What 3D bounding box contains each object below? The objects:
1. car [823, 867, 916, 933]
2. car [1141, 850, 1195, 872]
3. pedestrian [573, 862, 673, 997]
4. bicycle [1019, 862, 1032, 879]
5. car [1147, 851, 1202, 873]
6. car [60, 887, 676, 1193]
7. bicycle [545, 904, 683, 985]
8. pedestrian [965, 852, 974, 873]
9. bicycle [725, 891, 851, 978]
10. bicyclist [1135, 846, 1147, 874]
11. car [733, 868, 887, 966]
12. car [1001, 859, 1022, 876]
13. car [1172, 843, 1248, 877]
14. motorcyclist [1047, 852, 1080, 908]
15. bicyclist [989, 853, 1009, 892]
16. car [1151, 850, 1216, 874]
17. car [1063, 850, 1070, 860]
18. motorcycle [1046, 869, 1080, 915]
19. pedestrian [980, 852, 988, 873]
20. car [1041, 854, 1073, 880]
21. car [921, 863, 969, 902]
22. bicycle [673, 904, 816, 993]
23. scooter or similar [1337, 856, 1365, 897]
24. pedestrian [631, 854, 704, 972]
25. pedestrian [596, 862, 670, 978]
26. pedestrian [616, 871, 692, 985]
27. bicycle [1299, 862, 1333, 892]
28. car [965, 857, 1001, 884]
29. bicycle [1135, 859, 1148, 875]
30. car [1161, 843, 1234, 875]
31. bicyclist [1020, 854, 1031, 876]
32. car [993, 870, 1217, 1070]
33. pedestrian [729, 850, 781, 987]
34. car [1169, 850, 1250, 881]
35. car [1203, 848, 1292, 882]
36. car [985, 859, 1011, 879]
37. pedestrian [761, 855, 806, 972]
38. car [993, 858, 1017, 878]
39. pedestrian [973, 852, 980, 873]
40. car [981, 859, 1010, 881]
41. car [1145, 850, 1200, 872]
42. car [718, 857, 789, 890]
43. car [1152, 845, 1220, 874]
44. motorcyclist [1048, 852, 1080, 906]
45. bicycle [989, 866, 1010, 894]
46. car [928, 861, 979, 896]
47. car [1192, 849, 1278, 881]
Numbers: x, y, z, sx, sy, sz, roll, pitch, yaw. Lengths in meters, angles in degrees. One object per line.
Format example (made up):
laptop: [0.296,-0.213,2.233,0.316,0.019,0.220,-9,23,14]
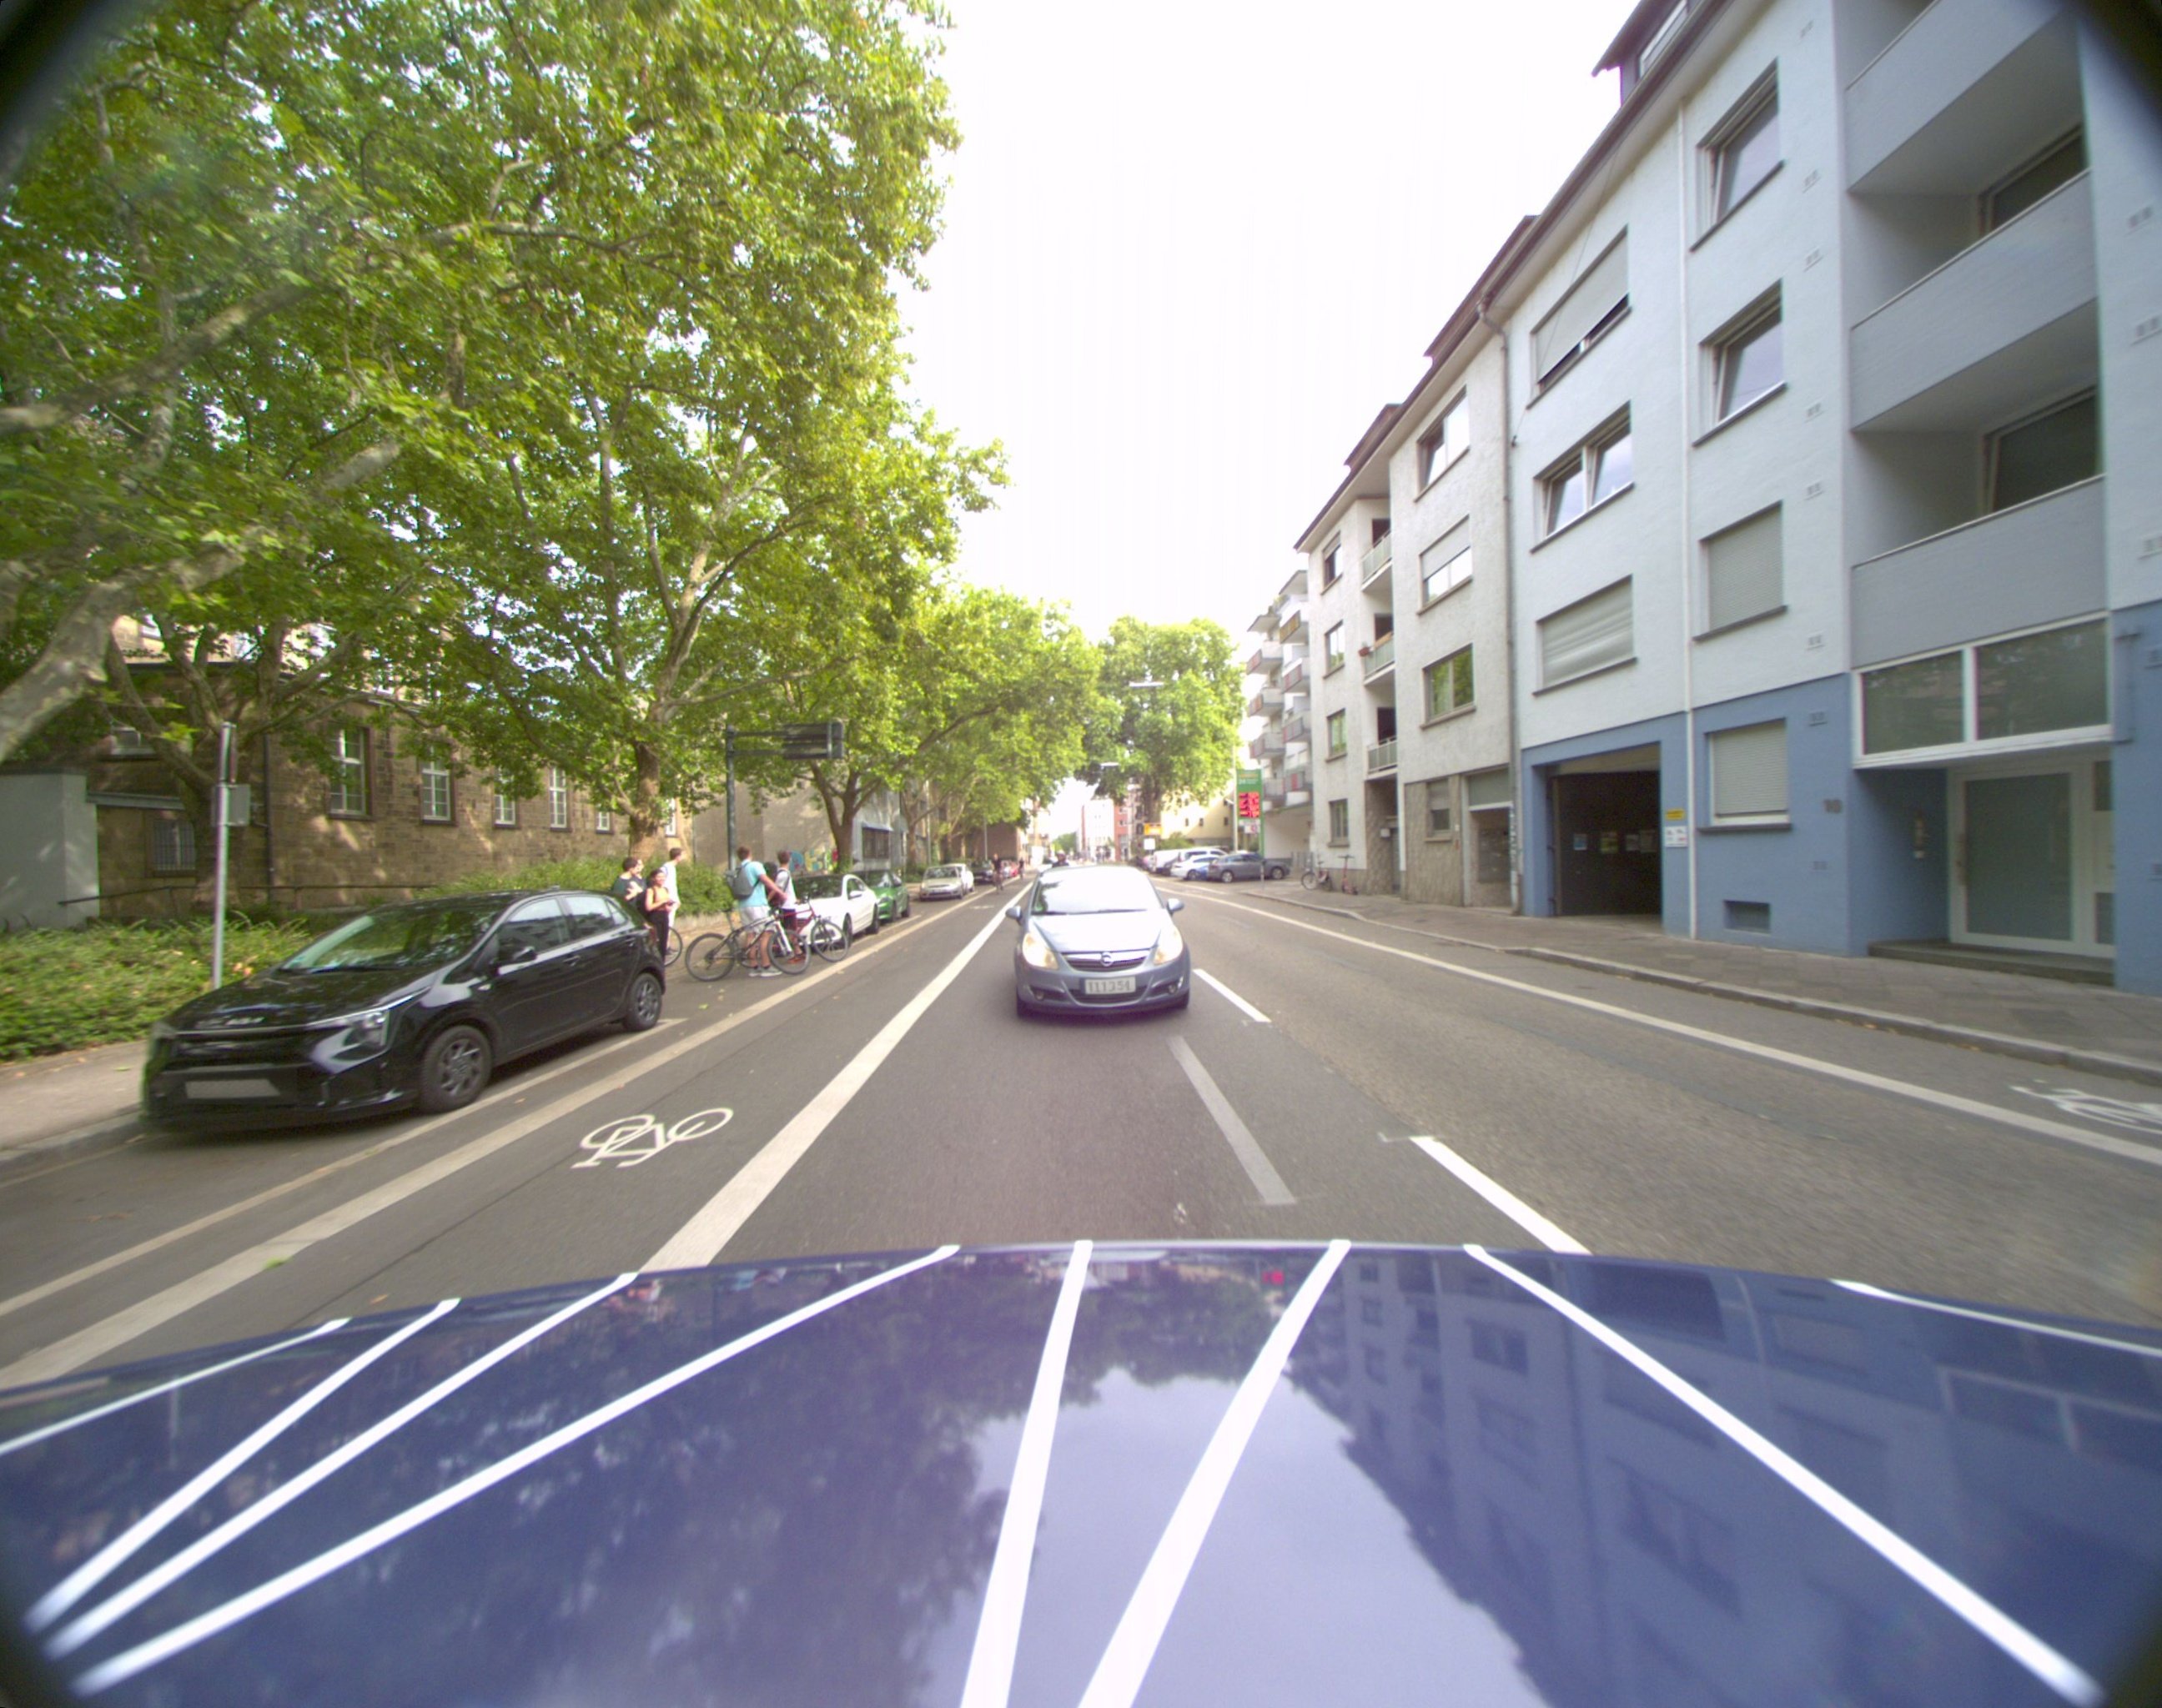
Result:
car: [-5.624,1.161,20.613,1.592,1.441,3.804,-4,0,-4]
car: [7.707,0.605,67.821,4.530,1.596,1.754,-4,0,-1]
pedestrian: [-6.540,1.047,10.891,0.873,1.806,0.780,-3,1,-2]
bicycle: [-4.158,1.210,57.000,0.763,1.162,1.949,-3,0,-1]
car: [7.795,0.638,63.511,4.276,1.502,1.719,-4,0,-1]
car: [-5.048,1.145,6.185,1.532,1.493,3.659,-3,0,-1]
bicycle: [-7.468,1.434,12.211,1.773,1.125,0.462,-3,1,-13]
pedestrian: [-9.689,0.749,66.096,0.644,1.823,0.645,2,1,-3]
bicycle: [-4.660,1.256,12.177,1.796,1.210,0.552,-3,1,-19]
bicyclist: [4.026,0.384,50.802,0.653,1.800,1.045,-2,1,-2]
car: [-5.313,1.145,15.552,1.685,1.507,4.542,-4,0,-4]
car: [-6.506,1.252,71.020,1.603,1.438,4.104,-3,0,-1]
car: [7.970,0.370,47.209,4.222,1.837,1.924,-4,0,-1]
motorcyclist: [-0.519,0.757,22.329,0.905,1.608,0.691,-2,1,-1]
bicyclist: [-3.735,0.830,34.714,0.764,1.699,0.917,-3,1,-1]
car: [7.925,0.597,58.888,4.717,1.461,1.874,-4,0,-1]
car: [-4.077,0.283,215.265,1.999,2.546,4.798,-2,0,-1]
motorcycle: [-0.515,1.068,22.328,0.905,1.190,2.630,-2,0,-1]
pedestrian: [-8.392,0.731,65.921,0.592,1.775,0.476,2,1,-3]
car: [-1.609,0.803,50.512,2.001,1.556,4.550,-2,0,-2]
car: [-5.690,1.143,32.088,1.648,1.438,3.880,-3,0,-6]
bicycle: [-4.778,1.329,10.892,1.740,1.099,0.551,-3,1,-13]
scooter or similar: [8.365,0.683,23.557,0.350,1.214,1.201,-3,0,-2]
pedestrian: [-7.290,1.013,13.436,0.795,1.986,0.749,-3,1,-2]
pedestrian: [-7.422,1.073,12.624,0.723,1.844,0.703,-3,1,-2]
pedestrian: [-6.539,1.113,11.670,0.723,1.648,0.655,-3,1,-2]
bicycle: [8.106,0.776,26.256,0.598,0.945,1.662,-3,0,-2]
car: [-6.416,1.063,50.233,1.926,1.612,4.479,-3,0,-3]
bicycle: [4.040,0.862,50.826,0.648,1.008,2.076,-2,1,-2]
car: [8.238,0.369,53.990,4.779,1.923,1.993,-4,0,-1]
bicyclist: [-4.164,0.832,57.004,0.749,1.590,0.819,-3,1,-1]
car: [0.132,0.951,8.082,1.717,1.412,4.252,-2,0,-2]
pedestrian: [-4.772,0.913,11.152,0.476,1.923,0.744,-3,1,-13]
car: [7.476,0.662,44.488,4.282,1.442,1.874,-4,0,-1]
car: [8.708,0.572,39.985,4.162,1.504,1.837,-4,0,-1]
car: [-6.549,1.136,60.331,1.603,1.414,3.955,-3,0,-1]
pedestrian: [-4.855,0.948,12.430,0.522,1.834,0.743,-3,1,-16]
car: [-6.527,1.174,65.698,1.603,1.496,4.439,-3,0,-1]
pedestrian: [-9.057,0.743,65.981,0.502,1.775,0.527,2,1,-3]
car: [-6.270,1.157,55.910,1.644,1.424,4.572,-3,0,-1]
car: [7.852,0.616,65.509,4.373,1.540,1.732,-4,0,-1]
car: [-15.555,0.956,36.311,1.673,1.441,4.298,-2,-2,-3]
car: [7.776,0.405,56.444,4.628,1.848,1.950,-4,0,-1]
motorcyclist: [-0.516,0.750,23.038,0.905,1.608,0.691,-2,1,-1]
bicycle: [-3.724,1.185,34.828,0.763,1.162,1.949,-3,0,-1]
car: [-6.094,1.138,36.773,1.759,1.438,4.217,-3,0,-1]
car: [8.490,0.606,42.238,4.312,1.442,1.910,-4,0,-1]
